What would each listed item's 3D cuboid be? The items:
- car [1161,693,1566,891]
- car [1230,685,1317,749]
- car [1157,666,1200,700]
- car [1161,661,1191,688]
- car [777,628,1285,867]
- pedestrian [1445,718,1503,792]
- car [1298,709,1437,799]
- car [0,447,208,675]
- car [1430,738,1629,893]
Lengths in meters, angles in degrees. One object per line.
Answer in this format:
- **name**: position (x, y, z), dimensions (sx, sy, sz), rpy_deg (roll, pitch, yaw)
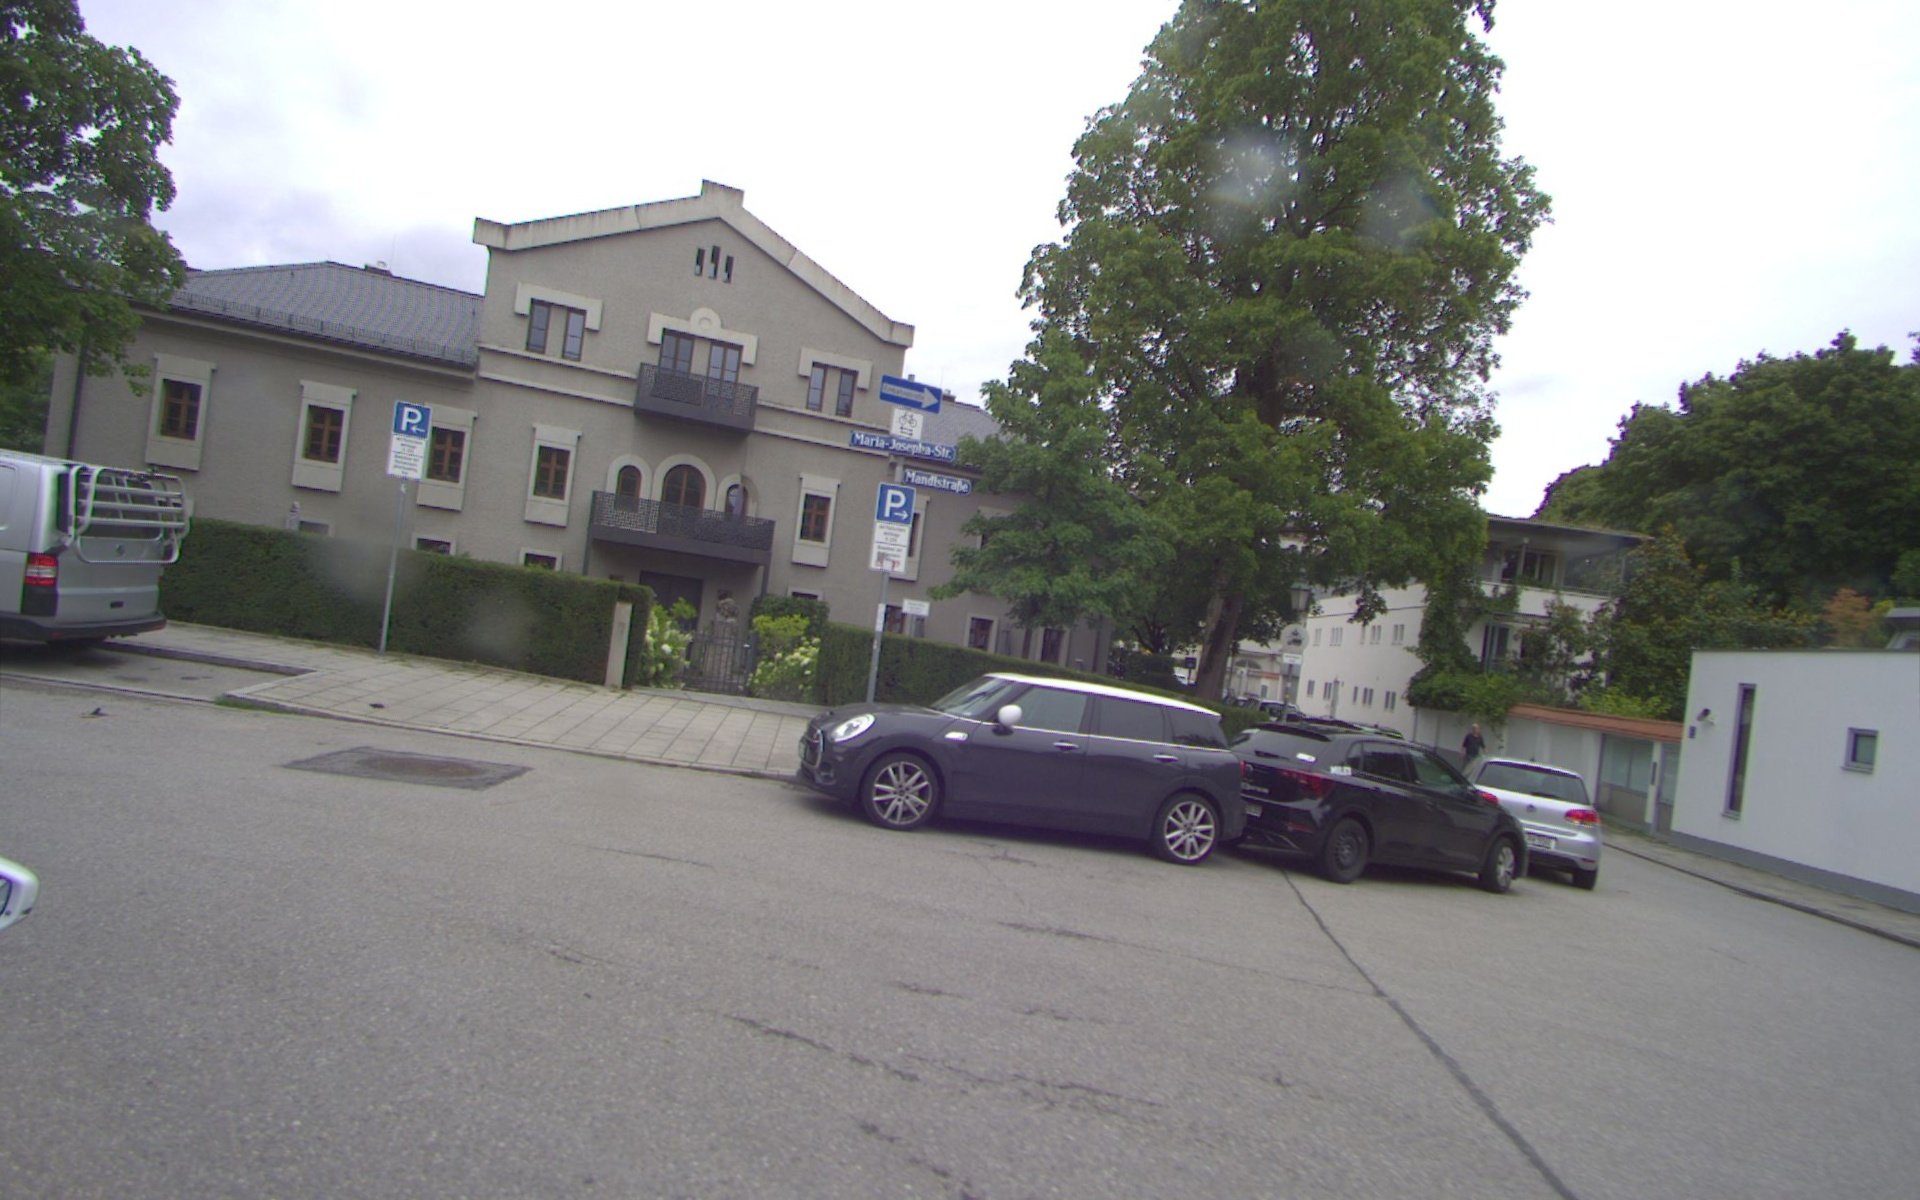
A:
- **car**: position (4.392, 2.084, 10.858), dimensions (3.976, 1.461, 1.885), rpy_deg (12, -5, -29)
- **car**: position (10.933, 4.045, 35.341), dimensions (1.905, 1.681, 4.019), rpy_deg (9, -2, 6)
- **car**: position (13.643, 5.190, 63.024), dimensions (1.905, 1.681, 4.019), rpy_deg (9, -2, 6)
- **car**: position (18.921, 6.554, 88.228), dimensions (1.962, 2.036, 4.185), rpy_deg (8, -2, 8)
- **car**: position (0.579, 1.331, 9.391), dimensions (4.206, 1.461, 1.894), rpy_deg (10, -4, -15)
- **pedestrian**: position (15.341, 4.613, 30.061), dimensions (0.934, 1.953, 1.233), rpy_deg (8, -1, 5)
- **car**: position (9.842, 3.685, 24.675), dimensions (1.905, 1.463, 4.019), rpy_deg (9, -2, 6)
- **car**: position (-10.577, -0.695, 9.592), dimensions (4.986, 1.928, 1.937), rpy_deg (9, 1, -8)
- **car**: position (7.824, 2.868, 14.206), dimensions (1.907, 1.462, 4.018), rpy_deg (9, -3, 25)
